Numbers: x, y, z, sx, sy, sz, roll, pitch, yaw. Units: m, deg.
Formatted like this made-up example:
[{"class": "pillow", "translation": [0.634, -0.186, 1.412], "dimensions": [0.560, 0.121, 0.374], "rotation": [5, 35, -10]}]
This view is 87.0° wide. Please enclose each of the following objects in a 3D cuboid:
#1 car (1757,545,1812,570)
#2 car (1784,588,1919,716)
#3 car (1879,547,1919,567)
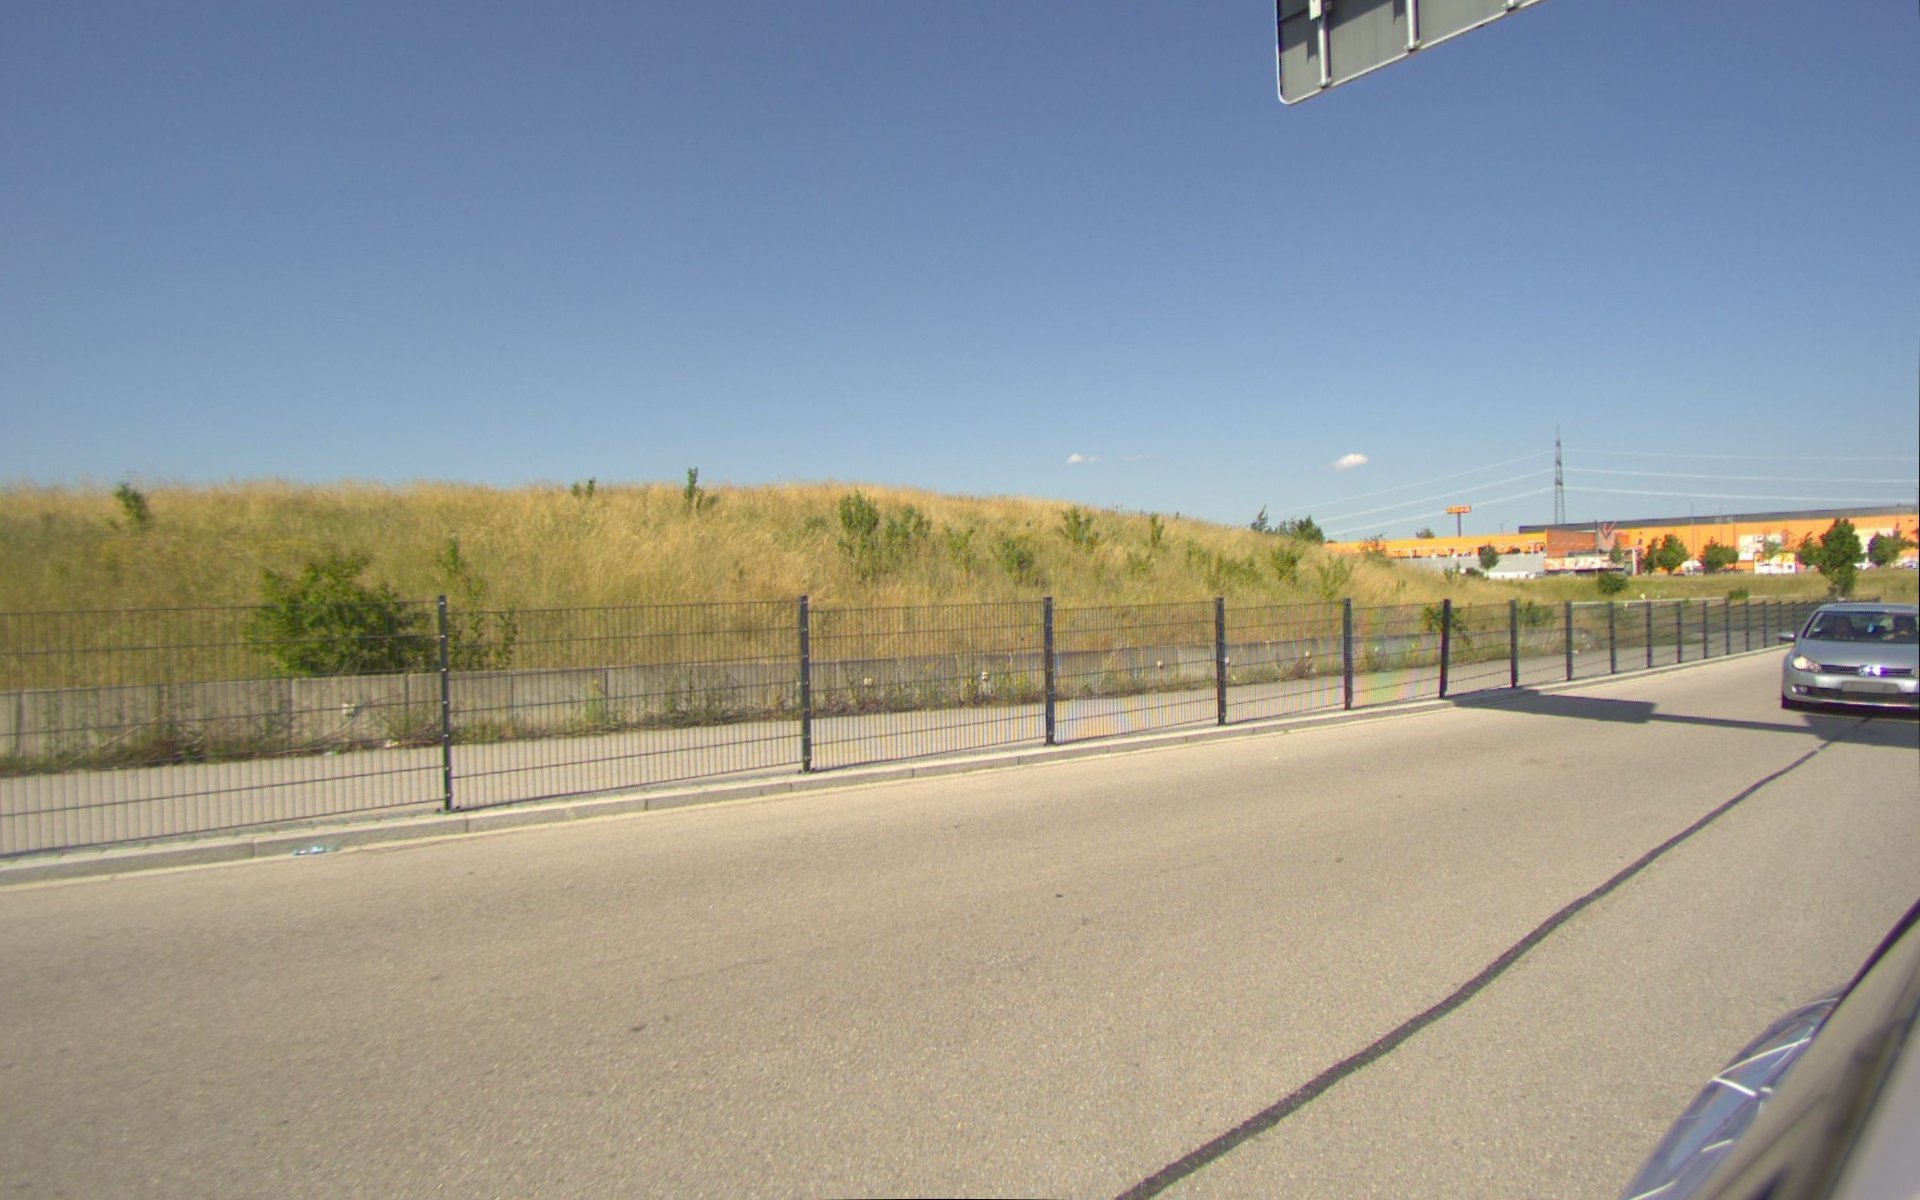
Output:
[{"class": "car", "translation": [92.986, -4.750, 114.142], "dimensions": [4.619, 2.581, 1.970], "rotation": [-2, 0, 43]}, {"class": "car", "translation": [12.746, 0.619, 13.932], "dimensions": [3.896, 1.486, 1.743], "rotation": [-1, 2, -44]}, {"class": "car", "translation": [100.128, -4.559, 106.823], "dimensions": [4.619, 2.039, 1.970], "rotation": [-2, 0, 43]}]
